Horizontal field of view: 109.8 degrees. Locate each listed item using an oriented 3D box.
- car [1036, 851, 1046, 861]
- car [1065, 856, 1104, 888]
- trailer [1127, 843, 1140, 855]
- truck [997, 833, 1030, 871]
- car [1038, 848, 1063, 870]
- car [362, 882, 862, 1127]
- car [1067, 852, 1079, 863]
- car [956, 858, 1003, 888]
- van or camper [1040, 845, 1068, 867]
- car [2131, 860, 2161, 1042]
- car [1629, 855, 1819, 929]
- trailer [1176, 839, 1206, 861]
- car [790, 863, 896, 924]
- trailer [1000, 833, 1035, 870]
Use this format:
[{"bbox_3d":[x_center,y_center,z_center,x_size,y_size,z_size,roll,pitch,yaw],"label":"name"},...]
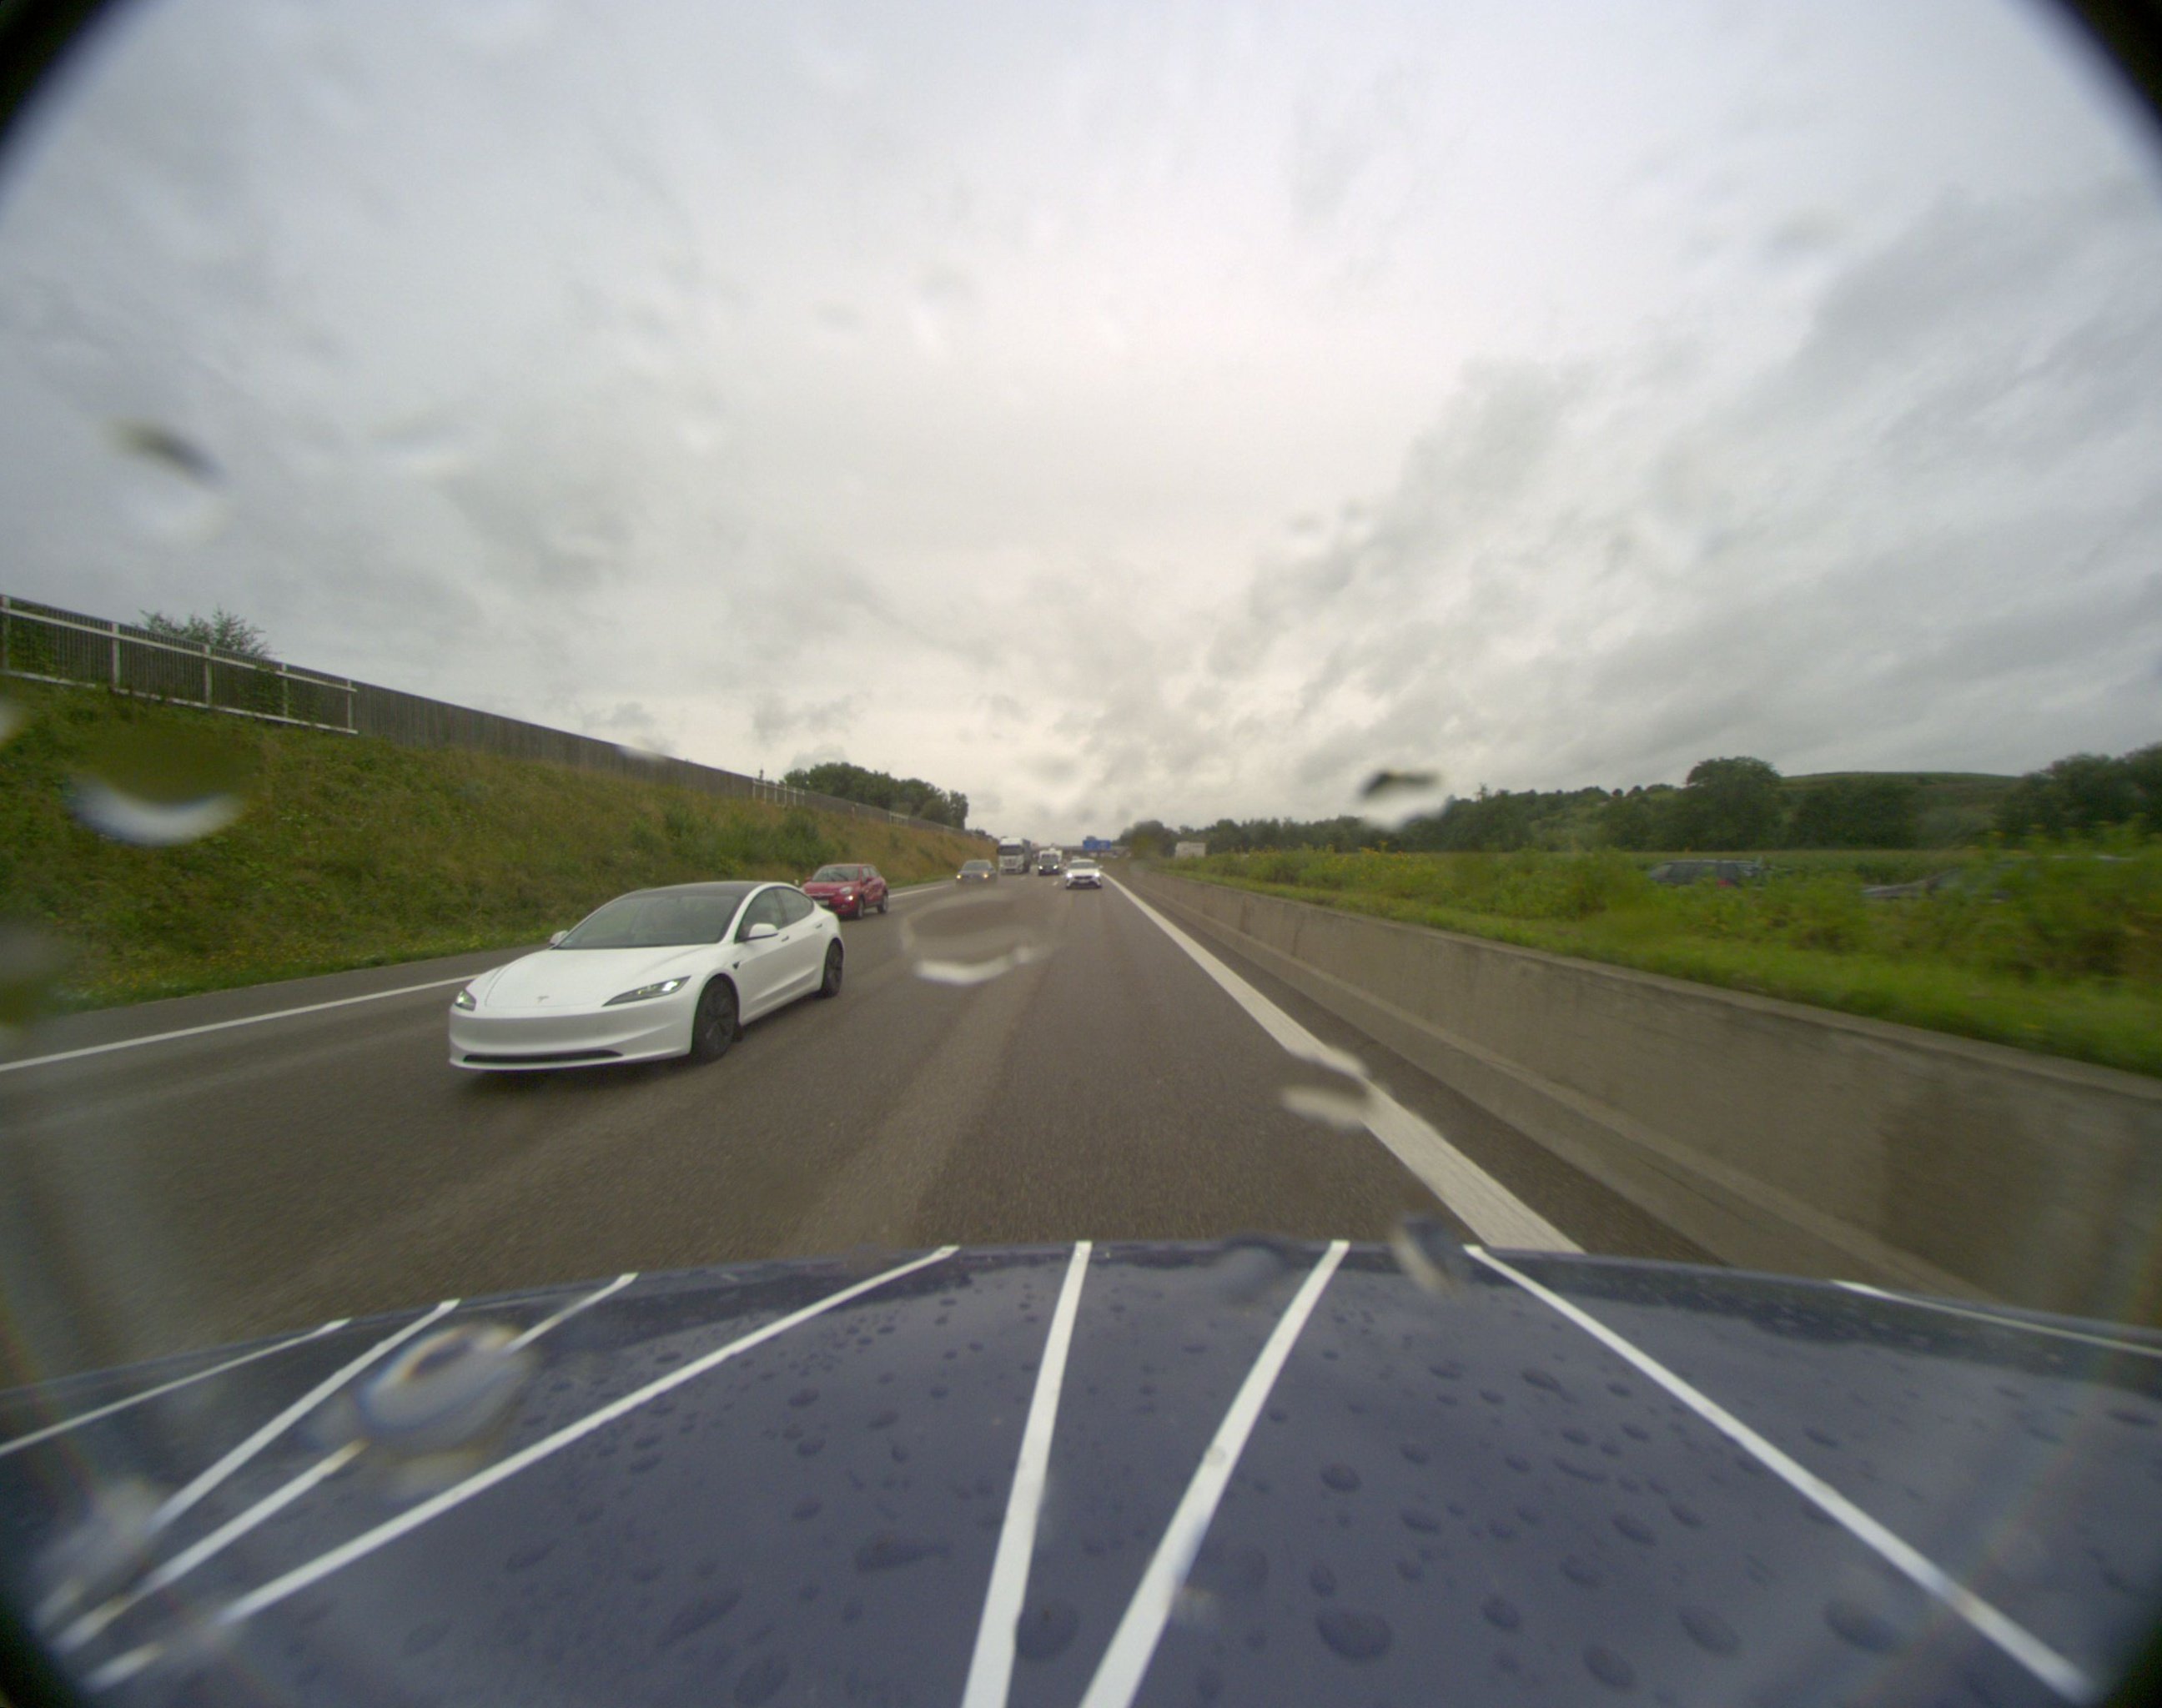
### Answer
[{"bbox_3d":[-8.805,0.416,168.516,1.999,2.002,4.262,-1,0,-1],"label":"car"},{"bbox_3d":[0.225,0.916,39.409,1.840,1.455,4.000,-2,1,1],"label":"car"},{"bbox_3d":[16.053,-1.565,232.966,2.794,3.309,9.925,-2,1,-1],"label":"trailer"},{"bbox_3d":[-7.499,-0.220,85.270,3.090,4.003,6.955,-2,1,-1],"label":"truck"},{"bbox_3d":[-2.904,0.430,73.596,1.998,2.002,4.938,-2,1,1],"label":"car"},{"bbox_3d":[-3.830,1.099,7.493,1.878,1.355,4.812,-2,0,0],"label":"car"},{"bbox_3d":[-1.286,0.575,123.290,1.999,1.759,4.000,0,0,0],"label":"car"},{"bbox_3d":[-5.755,1.045,43.499,1.929,1.480,4.485,-2,1,1],"label":"car"},{"bbox_3d":[-2.754,0.197,79.137,2.432,2.139,6.498,-2,1,1],"label":"van or camper"},{"bbox_3d":[12.778,1.051,6.591,1.822,2.002,4.000,-2,0,1],"label":"car"},{"bbox_3d":[16.822,0.913,20.172,1.804,1.764,3.861,0,0,1],"label":"car"},{"bbox_3d":[17.976,-0.675,124.768,2.922,3.408,13.240,-2,0,0],"label":"trailer"},{"bbox_3d":[-6.948,1.096,22.621,1.878,1.526,3.999,-2,1,-1],"label":"car"},{"bbox_3d":[-7.563,-0.304,93.016,3.090,4.003,15.219,-2,0,-1],"label":"trailer"}]
